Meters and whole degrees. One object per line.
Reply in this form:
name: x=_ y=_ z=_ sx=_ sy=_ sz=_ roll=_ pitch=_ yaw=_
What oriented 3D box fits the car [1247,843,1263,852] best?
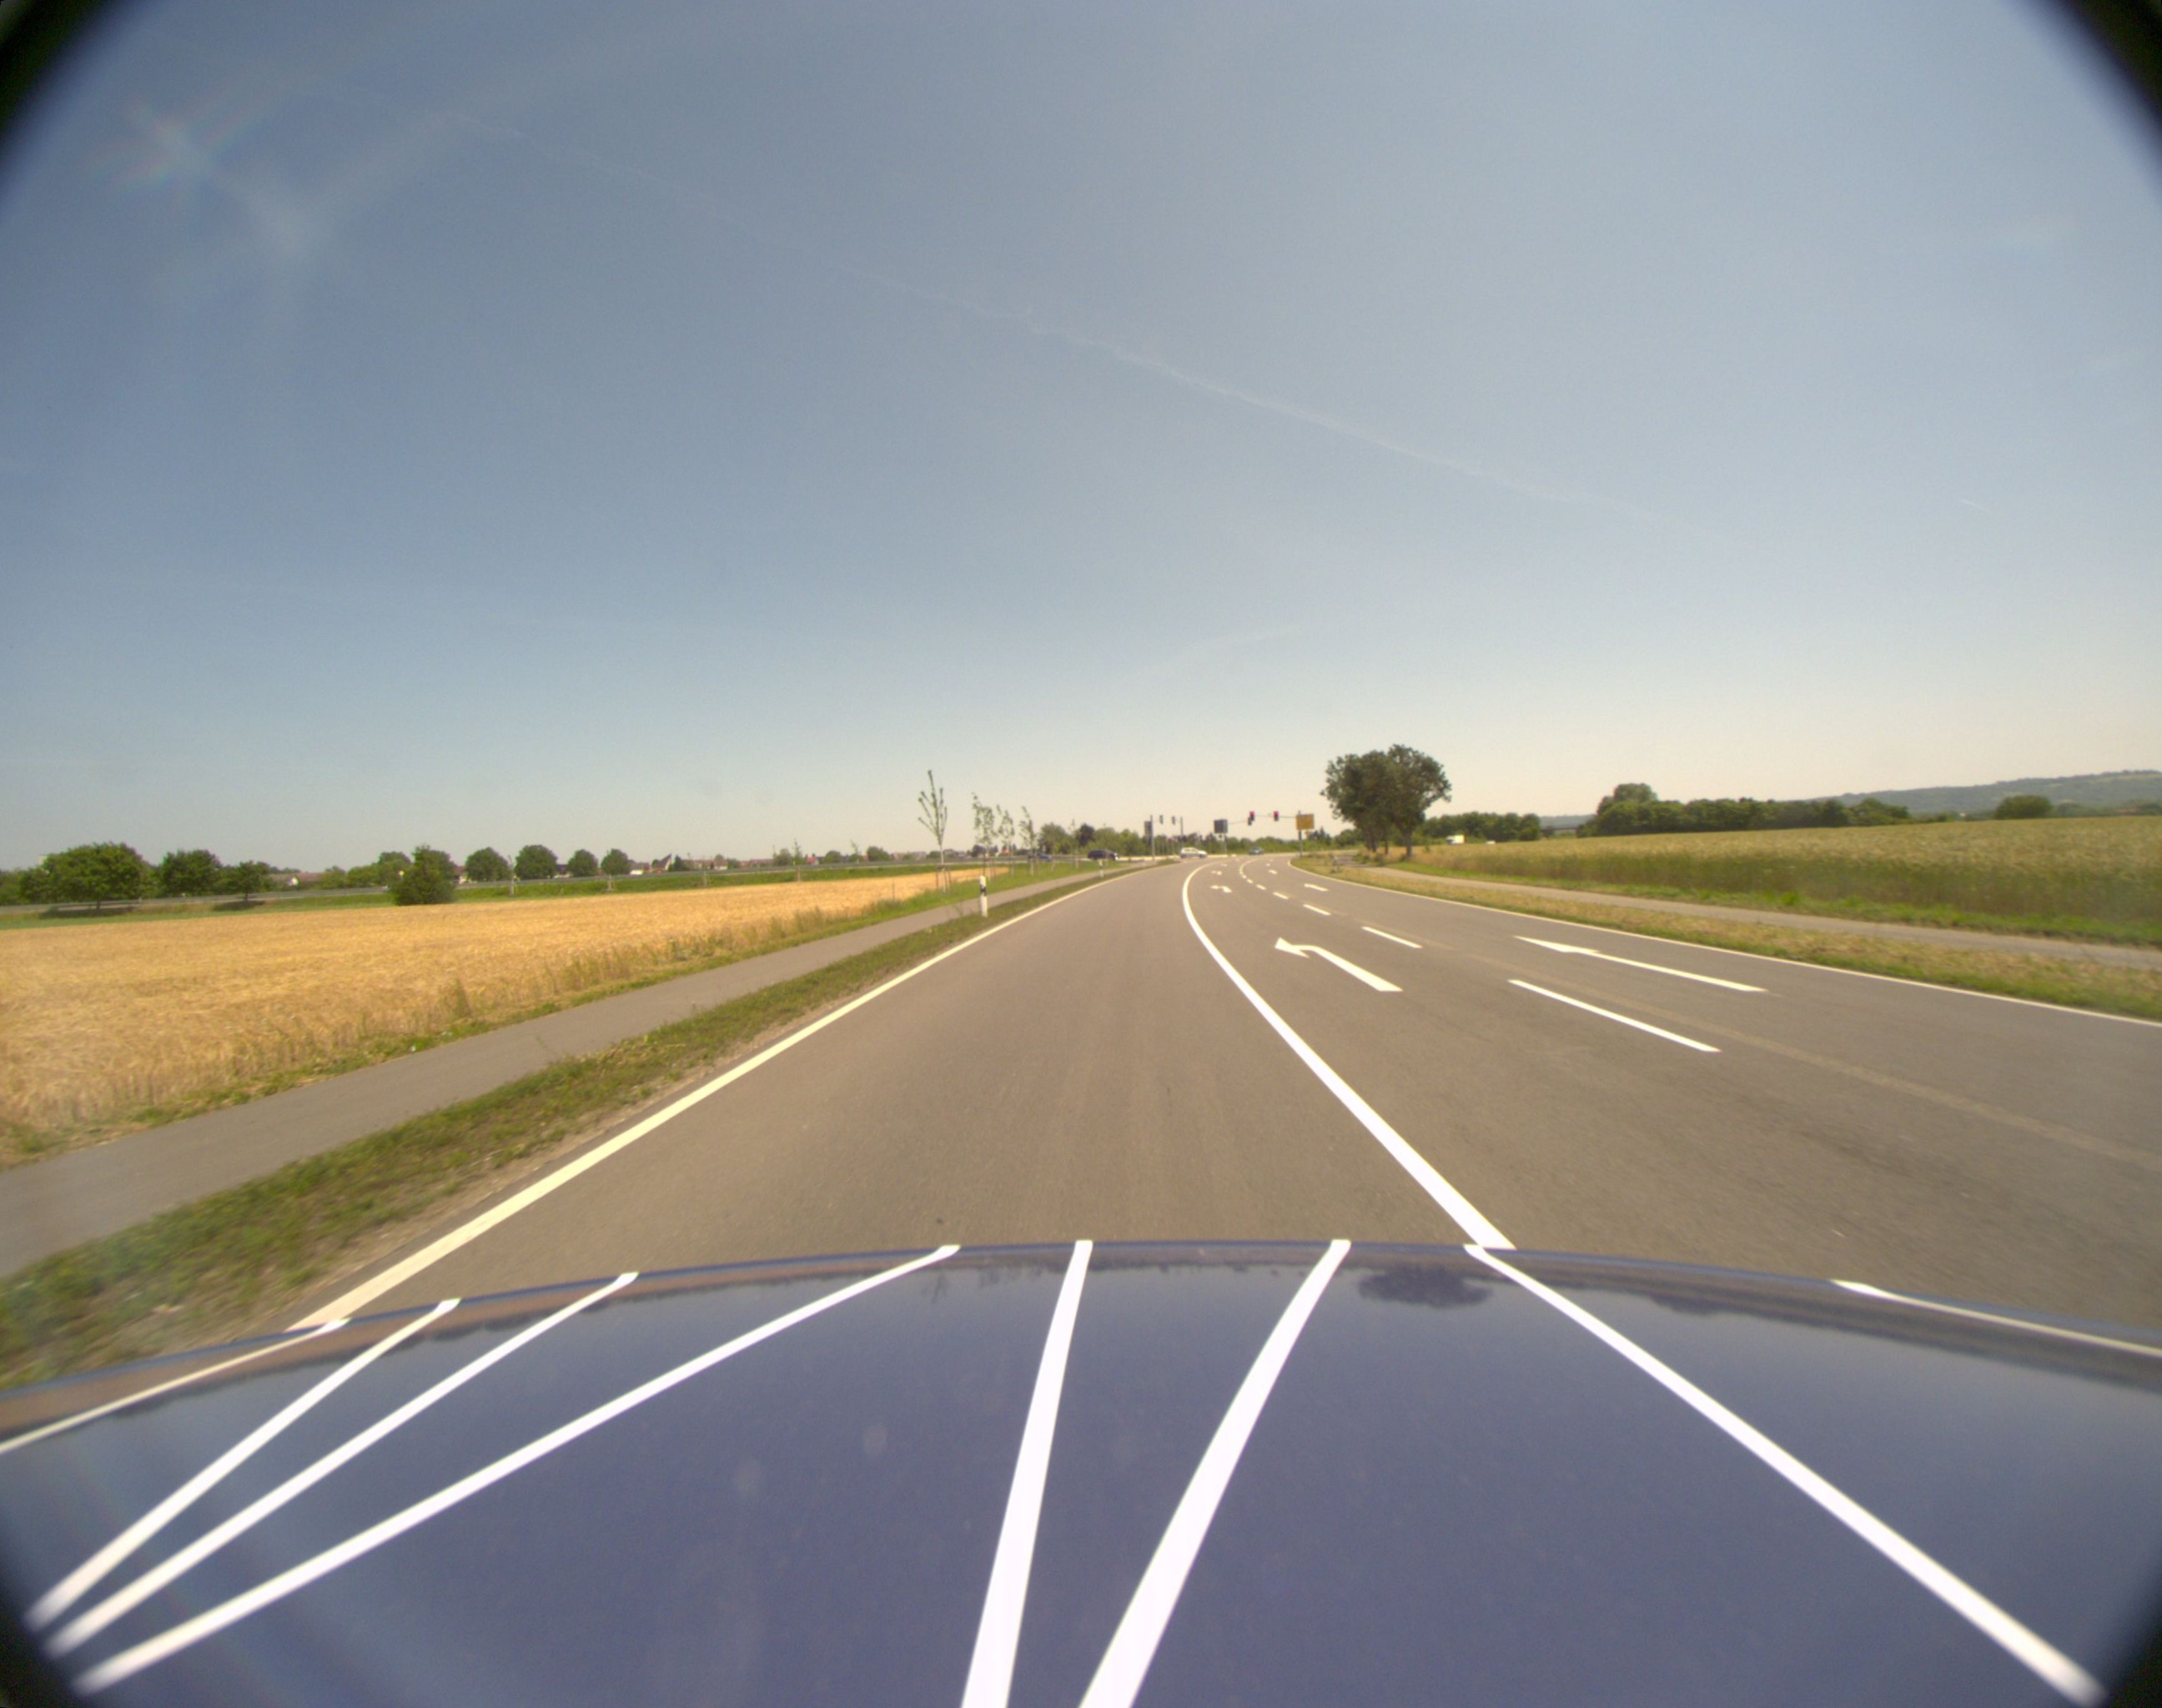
car: x=30.234 y=-1.160 z=131.976 sx=1.654 sy=1.557 sz=4.007 roll=-1 pitch=1 yaw=26

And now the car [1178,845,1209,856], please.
car: x=16.134 y=-0.503 z=109.234 sx=4.148 sy=1.451 sz=1.661 roll=-2 pitch=1 yaw=2

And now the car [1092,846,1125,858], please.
car: x=4.046 y=-0.355 z=111.963 sx=4.517 sy=1.631 sz=1.816 roll=-1 pitch=2 yaw=19
